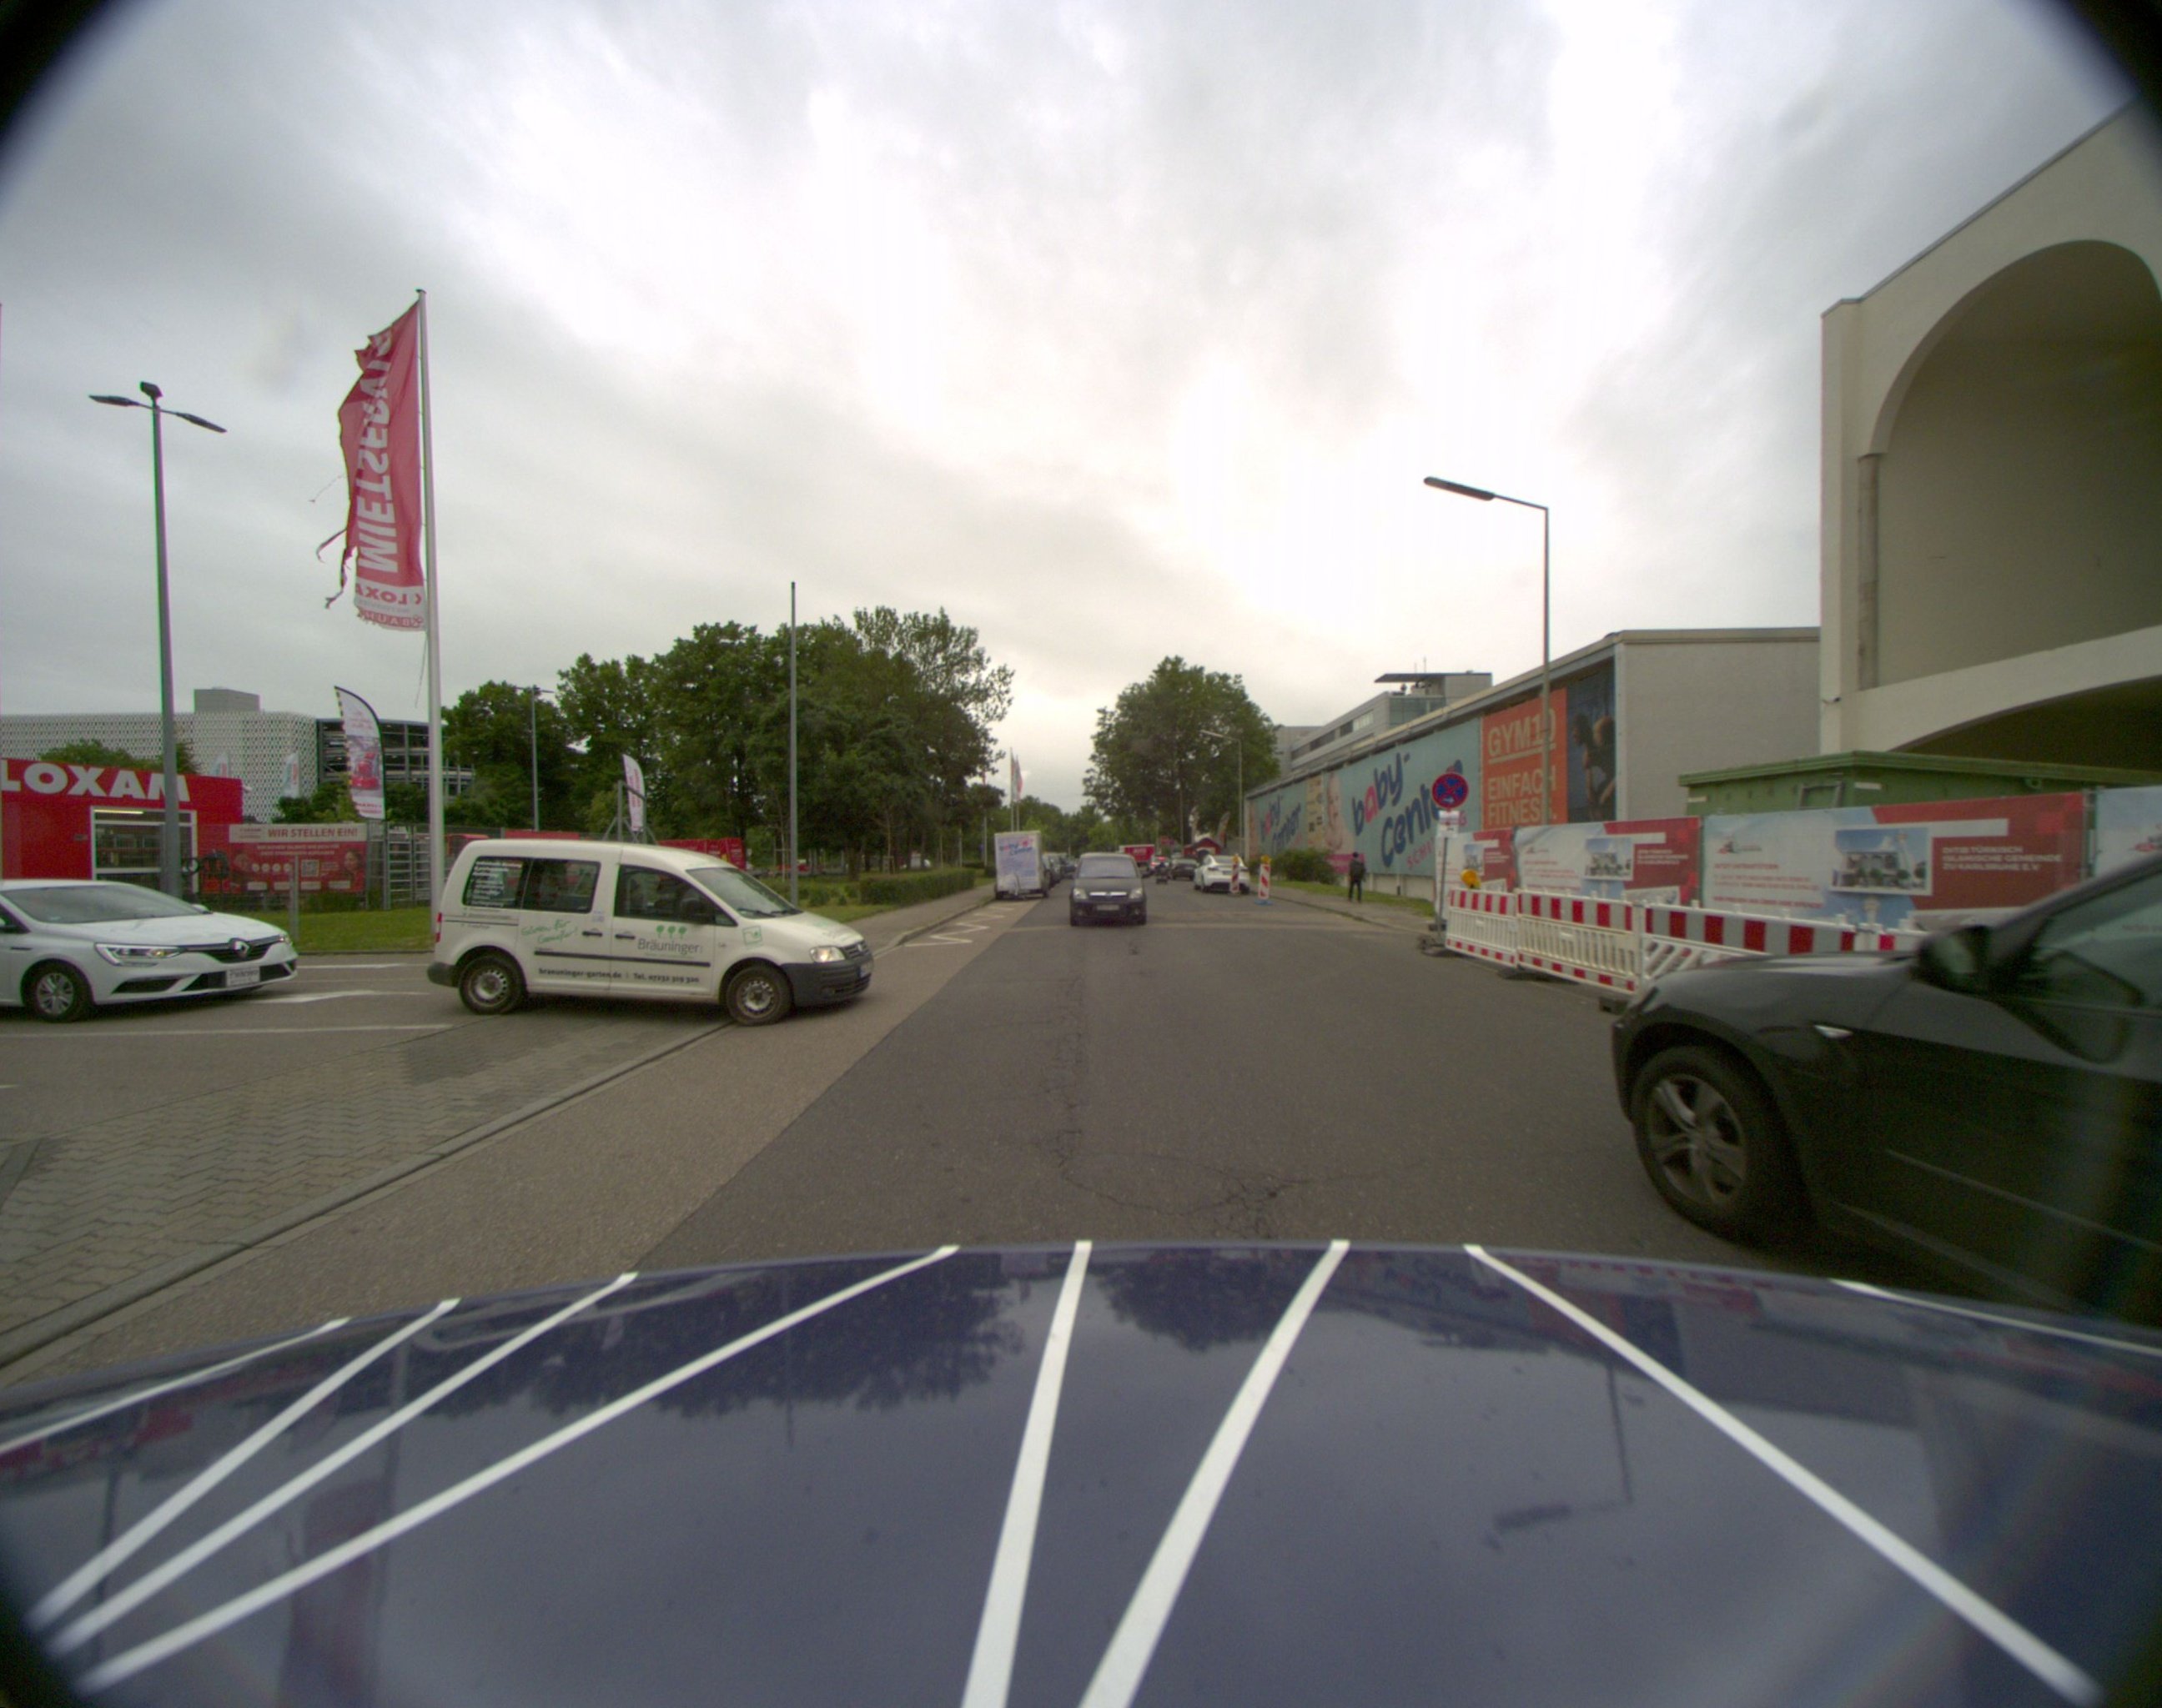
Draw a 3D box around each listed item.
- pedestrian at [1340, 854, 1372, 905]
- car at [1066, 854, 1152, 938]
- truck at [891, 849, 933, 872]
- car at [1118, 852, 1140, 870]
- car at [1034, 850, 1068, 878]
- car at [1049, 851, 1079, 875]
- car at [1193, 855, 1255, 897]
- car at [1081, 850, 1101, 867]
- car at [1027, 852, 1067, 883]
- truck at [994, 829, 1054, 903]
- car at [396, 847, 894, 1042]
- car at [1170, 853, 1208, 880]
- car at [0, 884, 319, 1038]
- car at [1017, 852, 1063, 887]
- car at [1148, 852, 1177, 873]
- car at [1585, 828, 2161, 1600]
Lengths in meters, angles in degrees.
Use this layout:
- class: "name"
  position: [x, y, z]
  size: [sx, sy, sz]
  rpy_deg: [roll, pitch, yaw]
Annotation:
- class: "pedestrian"
  position: [8.706, 0.809, 24.058]
  size: [0.793, 1.570, 0.602]
  rpy_deg: [-2, 1, 8]
- class: "car"
  position: [0.640, 0.833, 16.870]
  size: [1.685, 1.622, 3.759]
  rpy_deg: [-1, 0, 3]
- class: "truck"
  position: [-18.324, 0.712, 82.279]
  size: [1.994, 2.383, 4.008]
  rpy_deg: [0, 1, 41]
- class: "car"
  position: [4.332, 0.618, 69.005]
  size: [1.929, 1.565, 4.000]
  rpy_deg: [0, 0, 2]
- class: "car"
  position: [-1.997, 0.641, 51.783]
  size: [1.998, 1.805, 4.001]
  rpy_deg: [-1, 0, 3]
- class: "car"
  position: [-1.285, 0.667, 58.672]
  size: [1.998, 1.739, 4.001]
  rpy_deg: [-1, 0, 3]
- class: "car"
  position: [6.036, 0.881, 32.460]
  size: [1.929, 1.565, 4.149]
  rpy_deg: [2, 0, 2]
- class: "car"
  position: [1.140, 0.472, 81.965]
  size: [1.998, 1.739, 4.000]
  rpy_deg: [-1, 0, 2]
- class: "car"
  position: [-1.982, 0.762, 45.738]
  size: [1.998, 1.739, 4.001]
  rpy_deg: [-1, 0, 3]
- class: "truck"
  position: [-2.166, 0.426, 29.898]
  size: [1.853, 2.597, 4.000]
  rpy_deg: [-4, 0, 1]
- class: "car"
  position: [-4.483, 0.886, 8.326]
  size: [4.380, 1.797, 1.800]
  rpy_deg: [2, 1, 0]
- class: "car"
  position: [6.854, 0.775, 48.513]
  size: [1.929, 1.565, 4.149]
  rpy_deg: [2, 0, 2]
- class: "car"
  position: [-11.317, 1.122, 8.335]
  size: [4.113, 1.412, 1.730]
  rpy_deg: [-1, 0, 0]
- class: "car"
  position: [-2.118, 0.785, 40.415]
  size: [1.998, 1.718, 4.001]
  rpy_deg: [-1, 0, 3]
- class: "car"
  position: [6.312, 0.635, 59.189]
  size: [1.929, 1.565, 4.149]
  rpy_deg: [2, 0, 2]
- class: "car"
  position: [3.309, 0.799, 1.181]
  size: [1.964, 1.652, 4.654]
  rpy_deg: [2, 0, 1]
